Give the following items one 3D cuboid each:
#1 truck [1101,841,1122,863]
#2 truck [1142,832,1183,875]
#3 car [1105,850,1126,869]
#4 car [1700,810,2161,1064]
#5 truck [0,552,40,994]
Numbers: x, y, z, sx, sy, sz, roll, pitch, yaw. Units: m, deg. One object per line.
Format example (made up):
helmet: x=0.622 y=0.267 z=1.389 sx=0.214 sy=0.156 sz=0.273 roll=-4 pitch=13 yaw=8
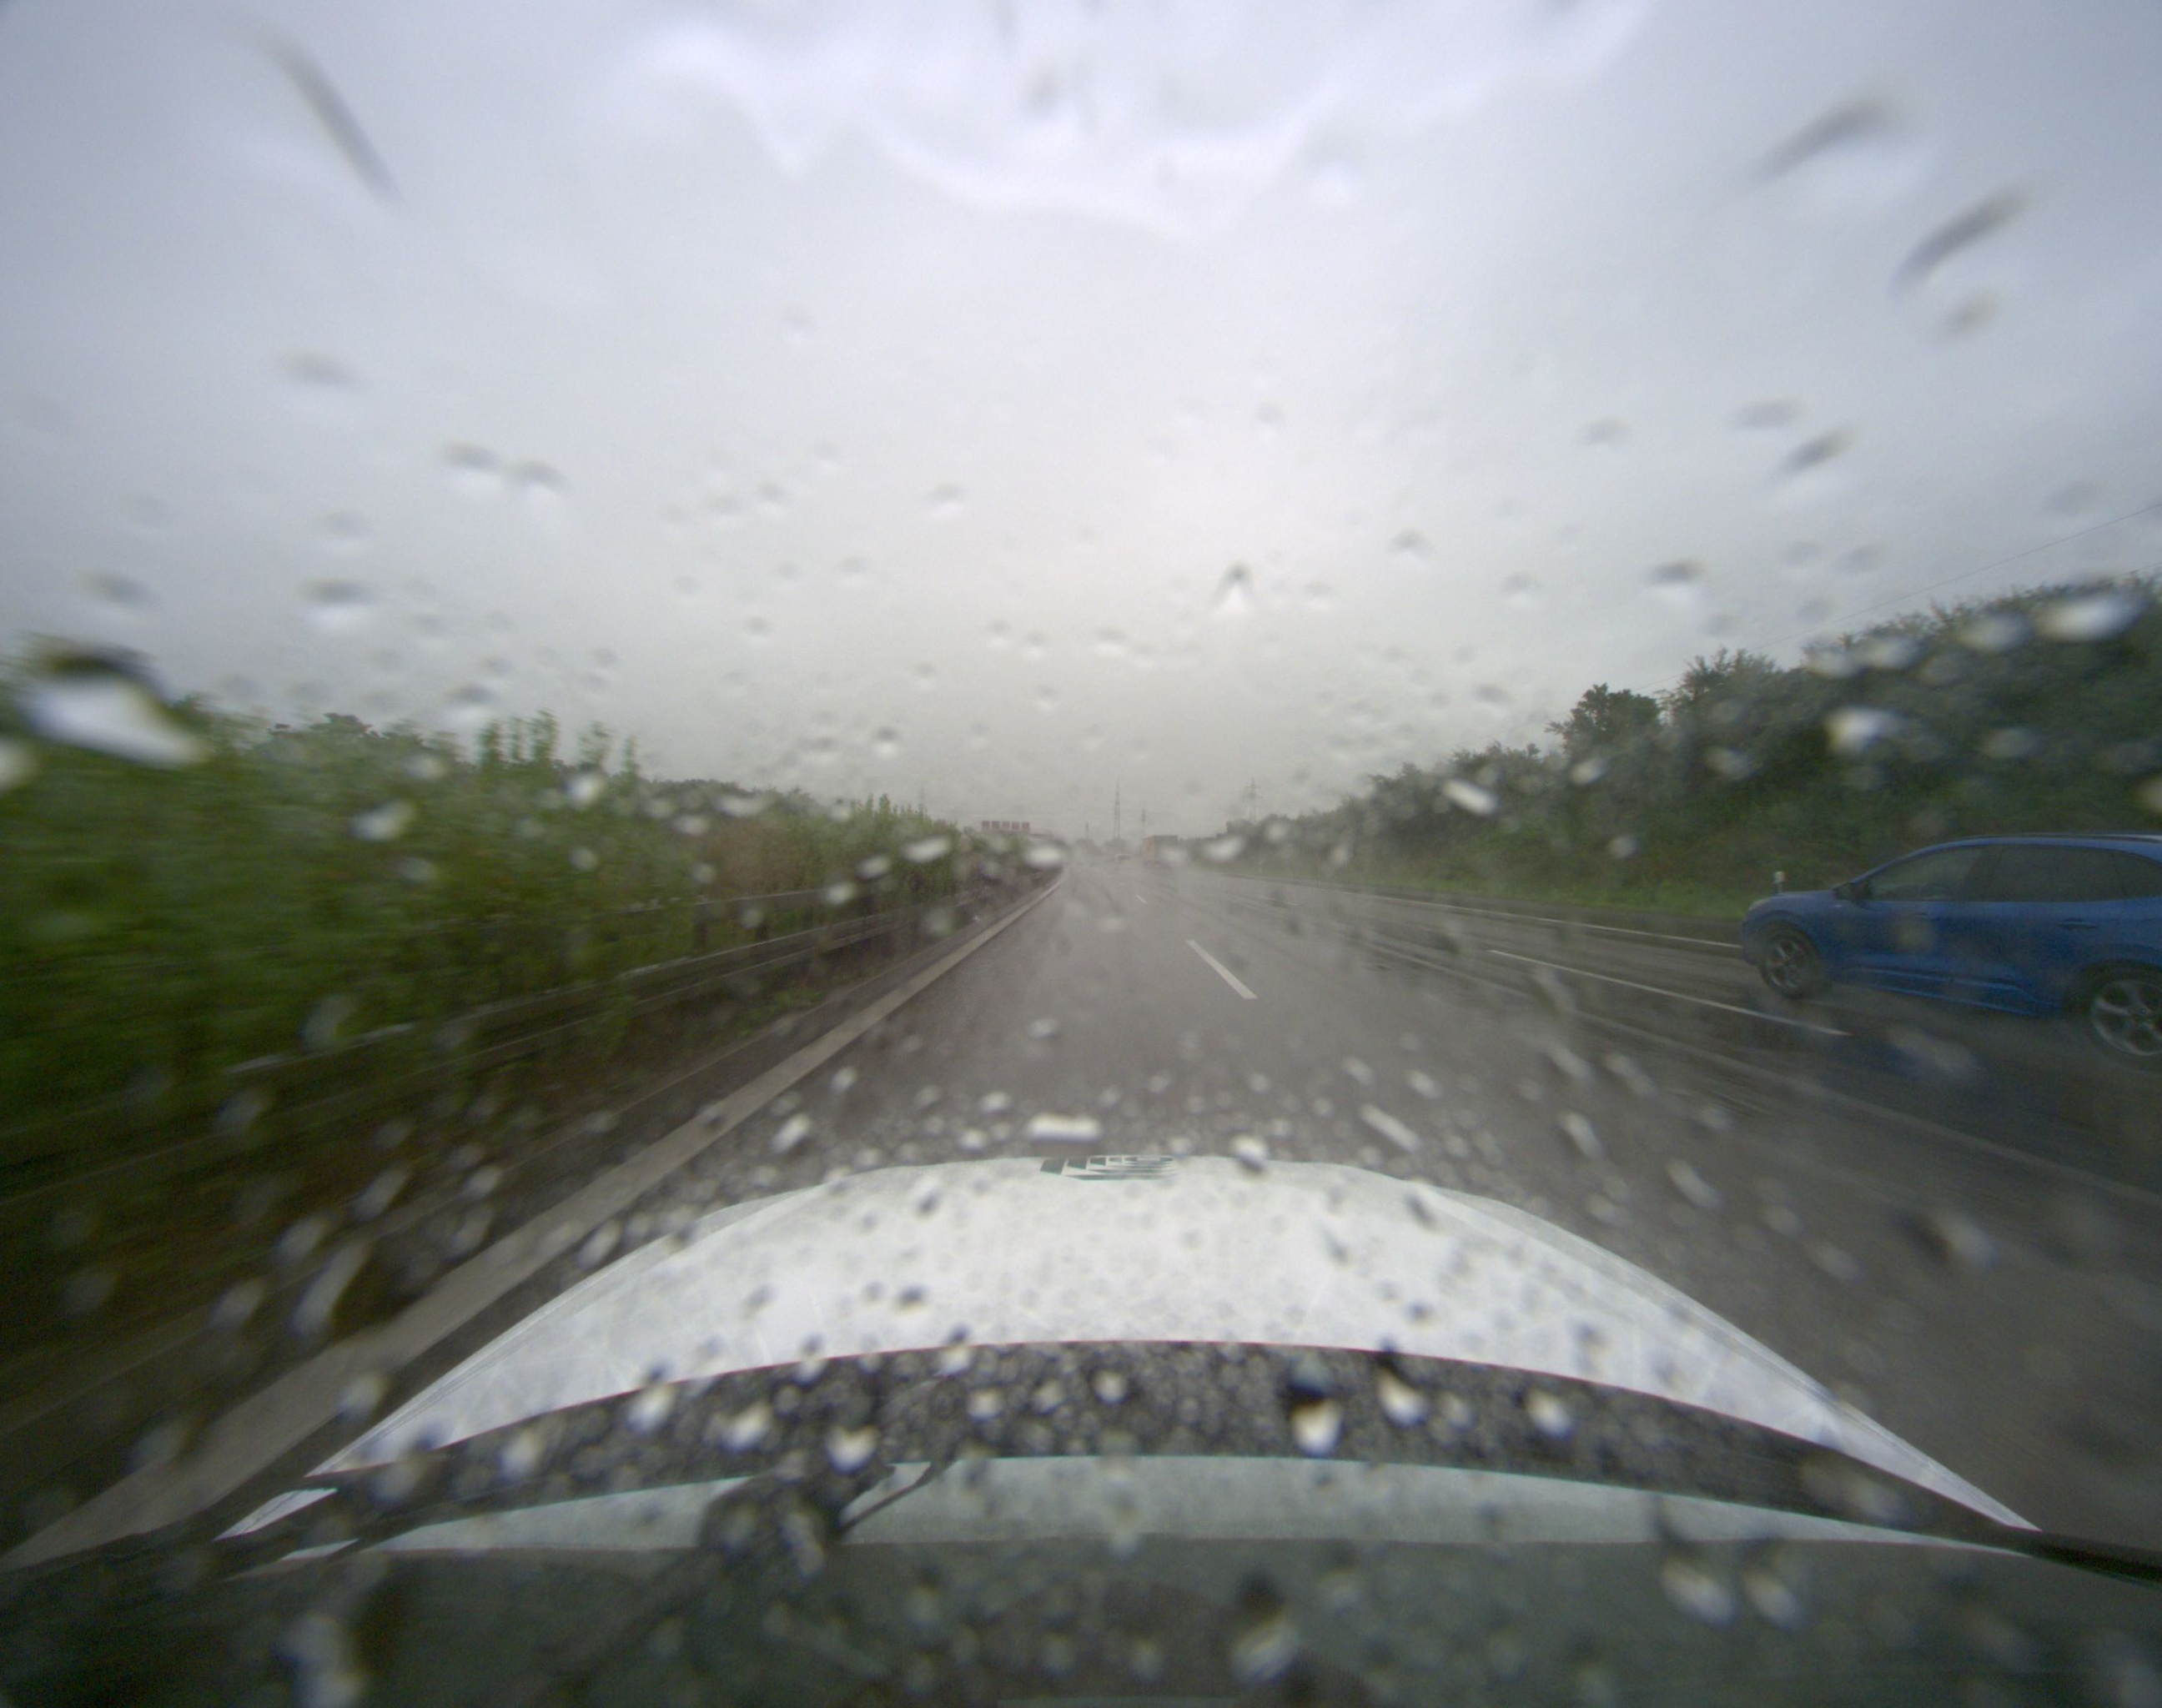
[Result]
truck: x=6.169 y=-0.475 z=165.424 sx=3.227 sy=4.311 sz=8.822 roll=-1 pitch=0 yaw=-5
truck: x=9.365 y=0.012 z=95.711 sx=4.171 sy=4.630 sz=16.120 roll=-1 pitch=-1 yaw=4
car: x=3.642 y=0.588 z=86.667 sx=1.988 sy=2.013 sz=3.998 roll=-1 pitch=0 yaw=-1
car: x=7.937 y=0.530 z=6.721 sx=1.986 sy=1.619 sz=4.995 roll=-1 pitch=-1 yaw=2
truck: x=-17.443 y=-1.091 z=3.752 sx=4.095 sy=6.125 sz=16.016 roll=-1 pitch=0 yaw=3
